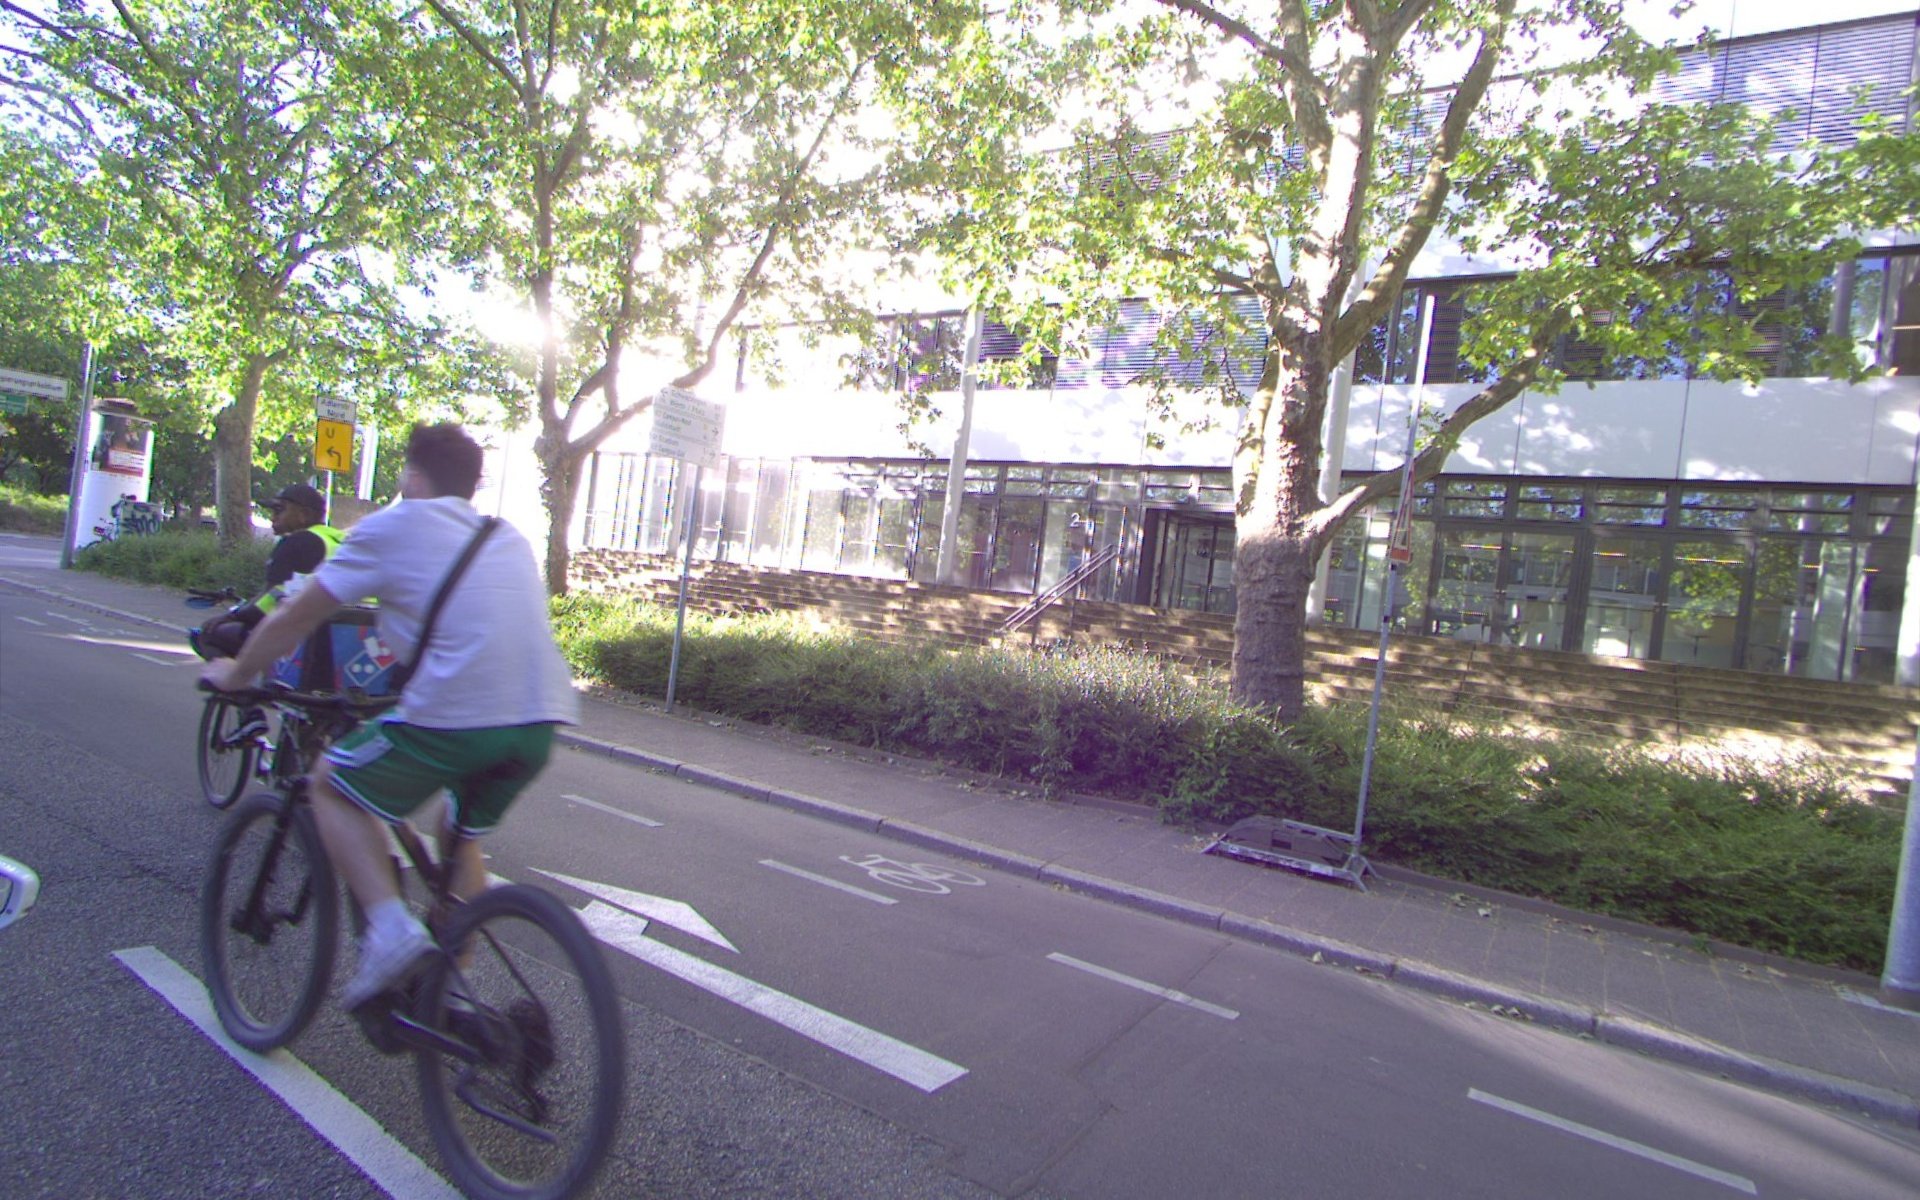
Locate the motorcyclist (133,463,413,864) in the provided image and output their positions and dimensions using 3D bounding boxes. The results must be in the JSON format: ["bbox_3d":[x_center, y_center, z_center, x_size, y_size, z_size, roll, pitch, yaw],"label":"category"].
[{"bbox_3d":[-3.349,0.286,4.927,0.738,1.763,0.718,6,-1,31],"label":"motorcyclist"}]

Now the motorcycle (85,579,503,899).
[{"bbox_3d":[-3.388,0.596,5.047,2.199,1.145,0.798,6,-2,32],"label":"motorcycle"}]

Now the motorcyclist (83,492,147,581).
[{"bbox_3d":[-19.345,-1.450,23.029,0.662,1.885,0.823,6,-1,37],"label":"motorcyclist"}]

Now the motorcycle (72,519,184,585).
[{"bbox_3d":[-19.219,-1.095,23.277,0.712,1.257,1.782,6,-2,37],"label":"motorcycle"}]

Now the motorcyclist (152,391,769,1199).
[{"bbox_3d":[-1.201,0.500,2.499,0.898,1.809,0.832,6,-1,31],"label":"motorcyclist"}]

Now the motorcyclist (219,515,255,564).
[{"bbox_3d":[-30.357,-2.547,42.249,0.370,1.899,0.983,6,0,36],"label":"motorcyclist"}]

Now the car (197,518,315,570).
[{"bbox_3d":[-32.692,-2.568,46.819,1.708,1.792,3.996,7,-1,30],"label":"car"}]

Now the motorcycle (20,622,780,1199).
[{"bbox_3d":[-1.557,0.780,2.712,1.897,1.182,0.864,6,-2,32],"label":"motorcycle"}]
